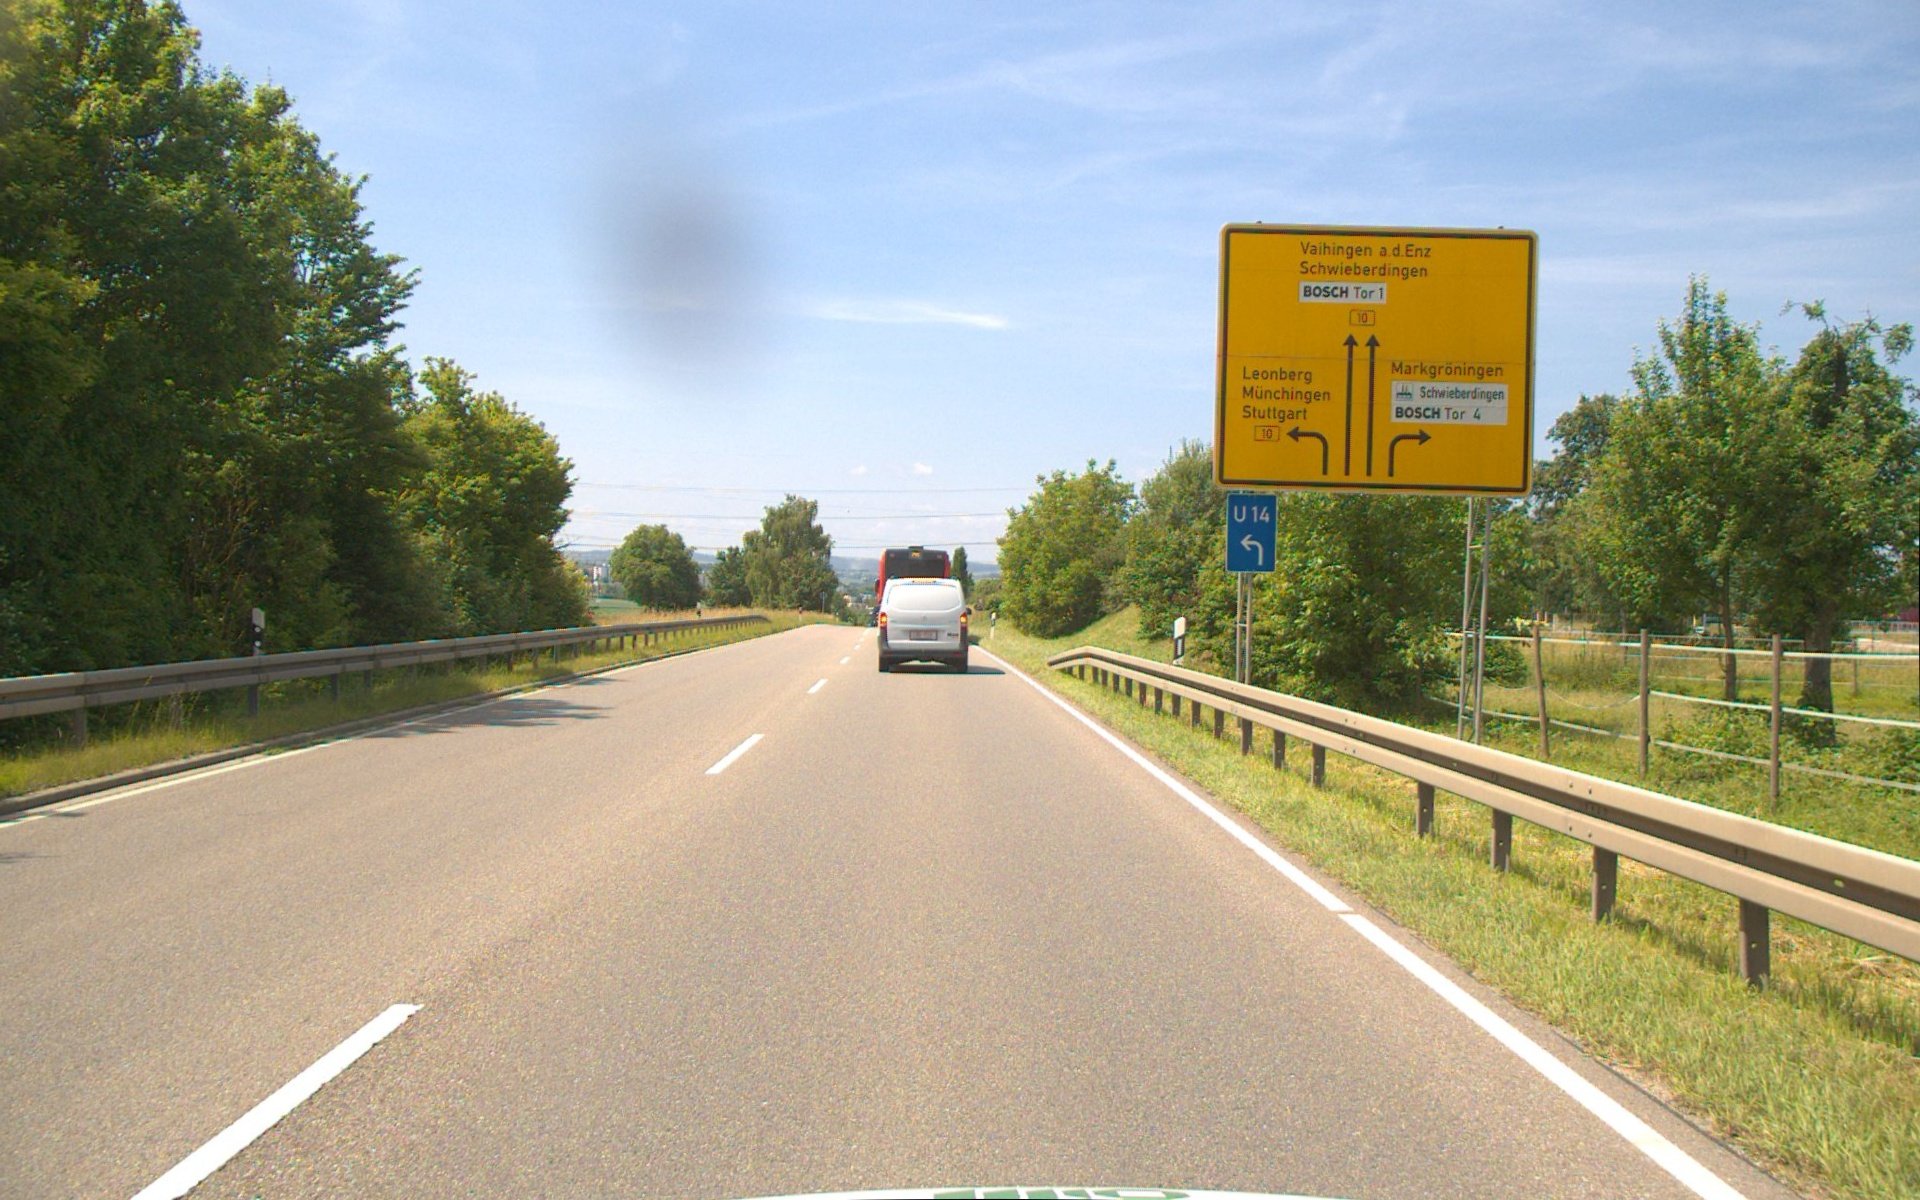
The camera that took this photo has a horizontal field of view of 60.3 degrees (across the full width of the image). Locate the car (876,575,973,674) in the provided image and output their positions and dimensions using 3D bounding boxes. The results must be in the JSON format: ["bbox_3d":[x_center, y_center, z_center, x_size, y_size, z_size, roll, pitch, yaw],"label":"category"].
[{"bbox_3d":[-0.768,0.462,34.914,1.884,1.922,3.999,1,1,-2],"label":"car"}]

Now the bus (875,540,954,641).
[{"bbox_3d":[-1.793,-0.406,62.974,2.692,3.412,13.216,0,1,-2],"label":"bus"}]
